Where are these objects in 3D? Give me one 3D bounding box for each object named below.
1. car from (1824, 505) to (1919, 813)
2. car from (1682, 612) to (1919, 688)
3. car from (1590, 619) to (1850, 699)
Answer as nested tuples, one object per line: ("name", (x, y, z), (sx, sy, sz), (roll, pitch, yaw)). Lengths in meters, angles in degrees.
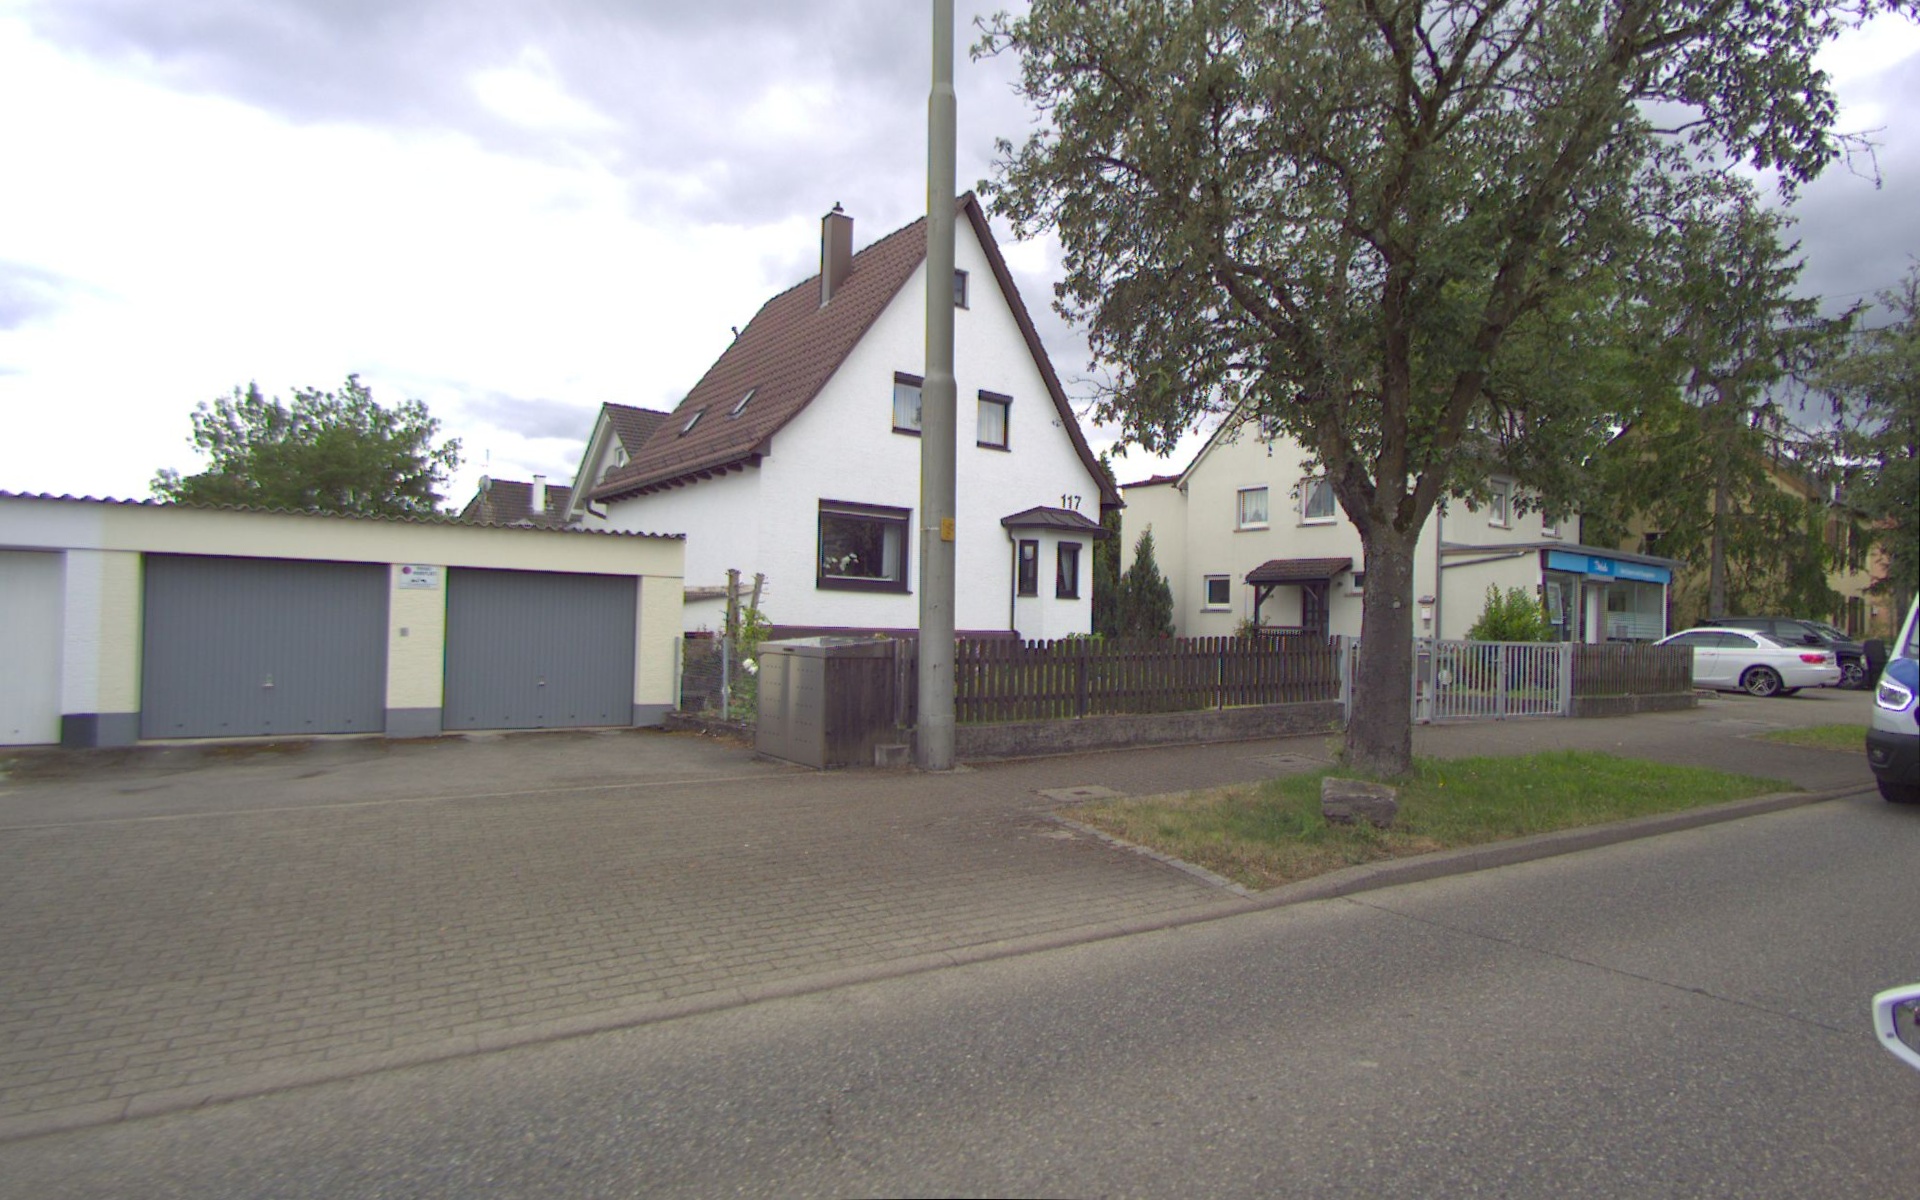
("car", (10.591, 0.533, 9.560), (5.240, 2.616, 2.063), (1, -3, -32))
("car", (21.141, 1.195, 25.336), (1.950, 1.639, 4.313), (2, 0, -29))
("car", (16.671, 1.221, 22.233), (1.799, 1.386, 4.247), (2, 1, -36))
